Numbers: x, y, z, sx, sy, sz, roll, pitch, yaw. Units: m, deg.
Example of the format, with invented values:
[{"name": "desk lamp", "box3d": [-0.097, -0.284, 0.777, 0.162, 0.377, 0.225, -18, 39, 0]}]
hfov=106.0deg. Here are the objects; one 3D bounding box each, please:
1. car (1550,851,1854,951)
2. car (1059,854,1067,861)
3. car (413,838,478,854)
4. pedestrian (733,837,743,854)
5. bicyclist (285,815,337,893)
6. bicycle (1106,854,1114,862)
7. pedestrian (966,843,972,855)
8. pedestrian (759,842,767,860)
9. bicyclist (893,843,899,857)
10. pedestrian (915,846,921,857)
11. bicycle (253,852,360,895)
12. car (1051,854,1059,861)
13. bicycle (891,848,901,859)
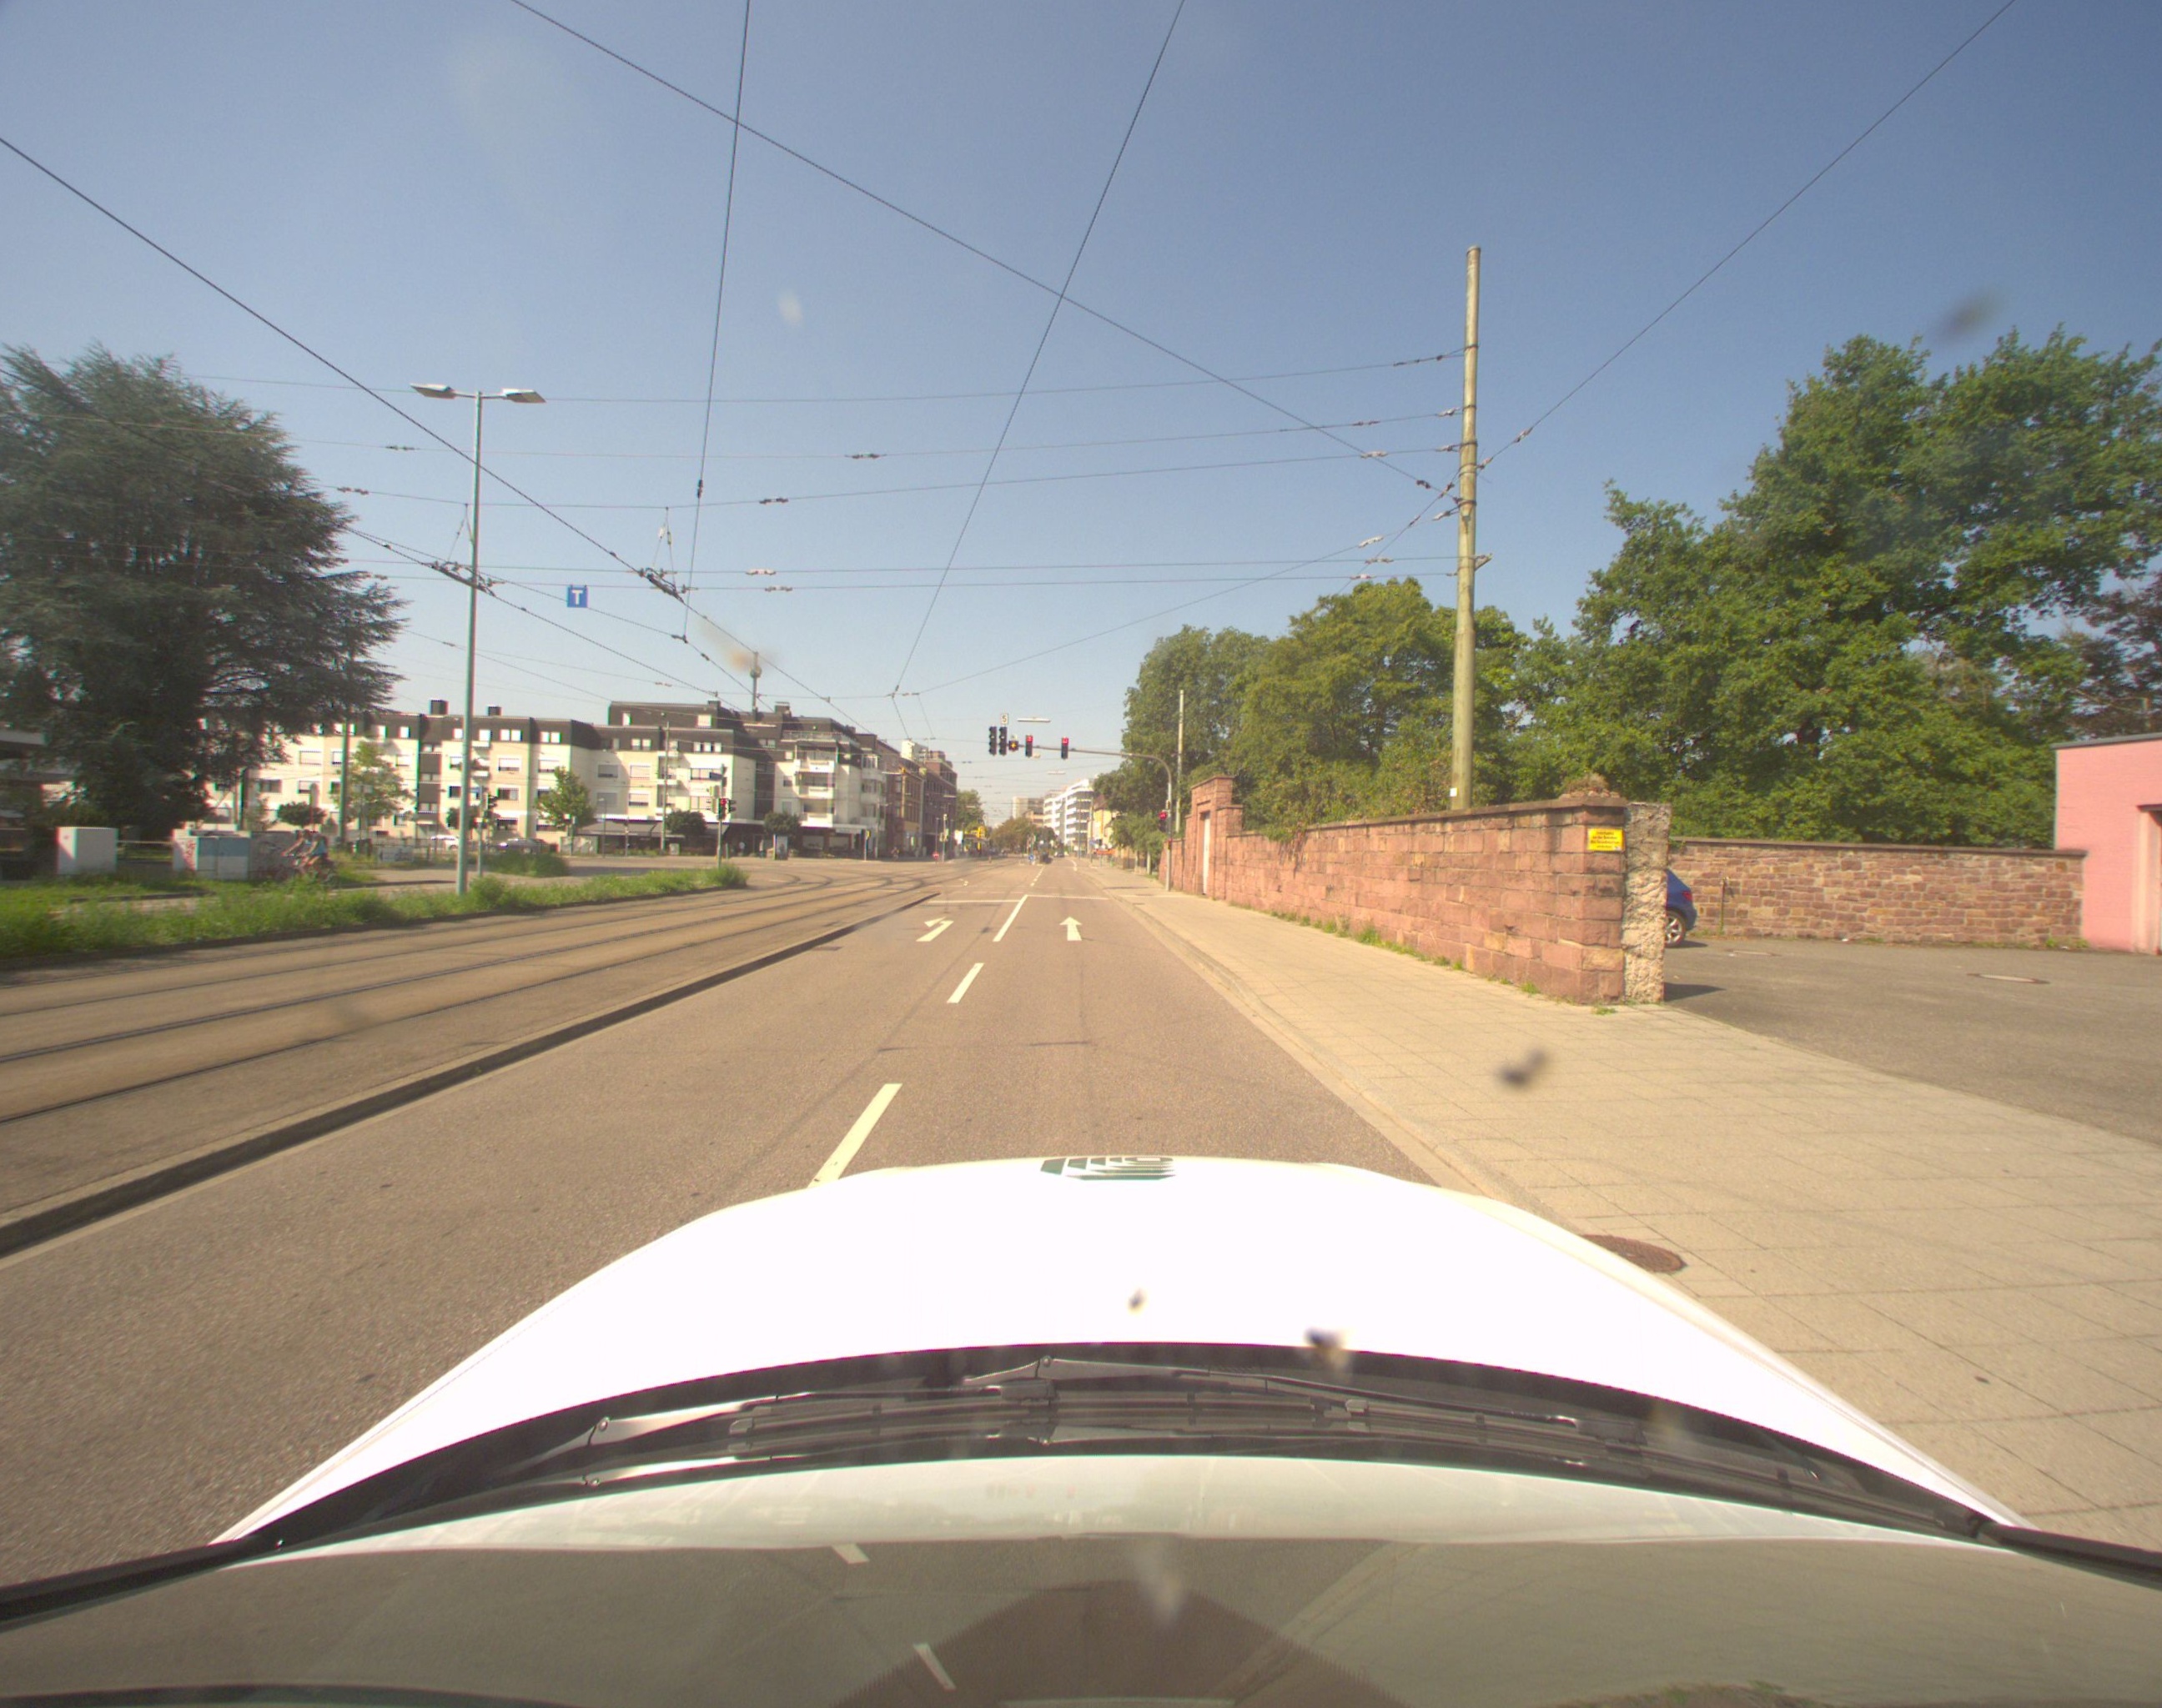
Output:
[{"name": "car", "box3d": [10.601, 0.761, 14.084, 3.958, 1.464, 1.776, 2, 1, -3]}, {"name": "car", "box3d": [-4.501, 0.850, 208.895, 2.005, 1.859, 3.999, 0, 0, 0]}, {"name": "car", "box3d": [-53.212, -0.690, 68.231, 4.099, 1.299, 1.671, 0, 0, -3]}, {"name": "pedestrian", "box3d": [-33.938, -0.845, 80.586, 0.677, 1.741, 0.698, 0, 0, -1]}, {"name": "bicyclist", "box3d": [-20.747, 0.002, 21.955, 0.635, 2.064, 0.774, 0, 0, 0]}, {"name": "bicycle", "box3d": [4.275, 0.527, 119.780, 0.731, 1.132, 2.831, -2, 0, -9]}, {"name": "pedestrian", "box3d": [-16.157, -0.711, 117.296, 0.706, 1.723, 0.798, 0, 0, -1]}, {"name": "pedestrian", "box3d": [-30.371, -0.267, 77.691, 0.602, 1.745, 0.560, 0, -1, -35]}, {"name": "bicyclist", "box3d": [-20.348, -0.410, 89.445, 0.566, 1.523, 0.489, 0, 0, 0]}, {"name": "pedestrian", "box3d": [-24.013, -0.396, 120.083, 0.480, 1.560, 0.889, 3, -1, 9]}, {"name": "bicycle", "box3d": [-20.766, 0.490, 21.915, 0.712, 1.091, 2.265, 0, 0, 0]}, {"name": "car", "box3d": [-6.760, 0.898, 214.793, 2.005, 1.859, 3.999, 0, 0, 0]}, {"name": "bicycle", "box3d": [-20.343, -0.086, 89.595, 0.573, 1.179, 2.208, 0, 0, 0]}]
